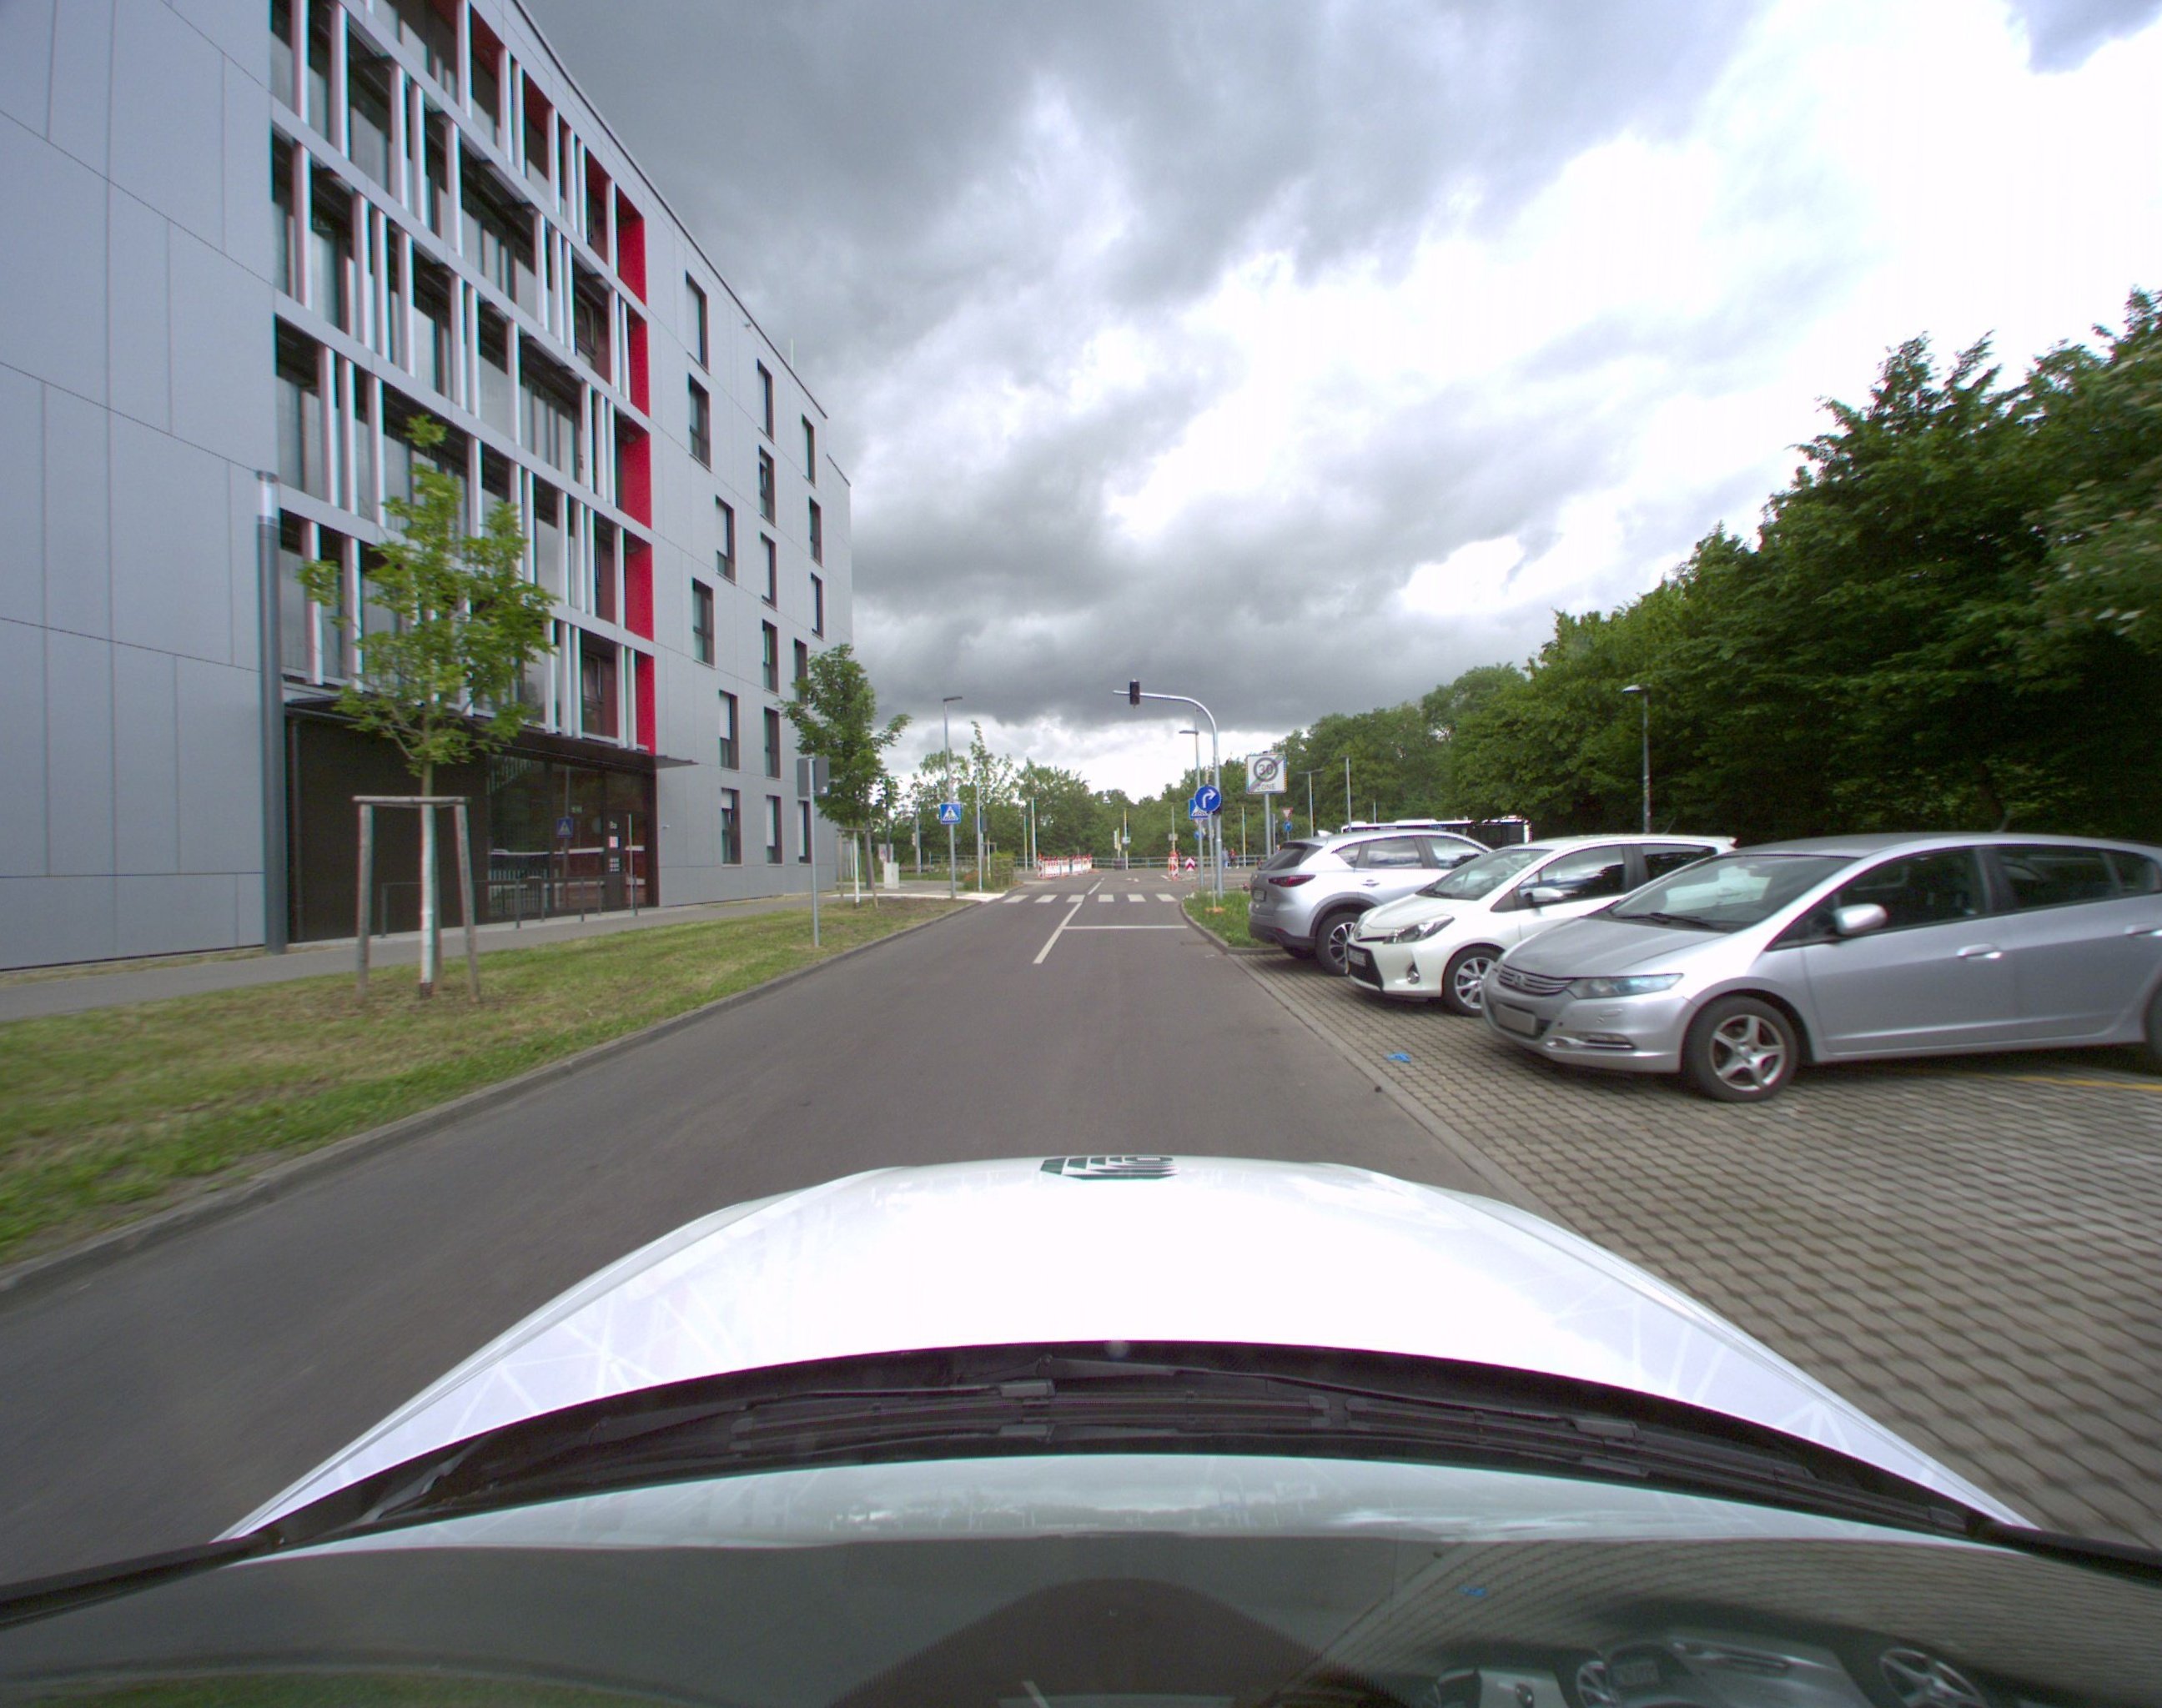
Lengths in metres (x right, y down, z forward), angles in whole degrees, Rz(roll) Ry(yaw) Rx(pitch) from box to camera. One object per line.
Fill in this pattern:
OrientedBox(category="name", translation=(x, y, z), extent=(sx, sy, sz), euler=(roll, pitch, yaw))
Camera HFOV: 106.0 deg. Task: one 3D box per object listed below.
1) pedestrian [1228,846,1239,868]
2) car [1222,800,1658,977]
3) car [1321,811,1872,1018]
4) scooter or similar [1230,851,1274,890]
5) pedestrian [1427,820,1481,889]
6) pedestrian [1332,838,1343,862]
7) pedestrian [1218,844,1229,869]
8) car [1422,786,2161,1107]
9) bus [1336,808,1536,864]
OrientedBox(category="pedestrian", translation=(11.581, 0.206, 61.791), extent=(0.715, 1.621, 0.808), euler=(-1, 0, 14))
OrientedBox(category="car", translation=(4.368, 0.381, 10.456), extent=(4.637, 1.752, 2.068), euler=(-4, 0, -3))
OrientedBox(category="car", translation=(4.658, 0.509, 7.815), extent=(4.142, 1.586, 1.795), euler=(-2, 0, -1))
OrientedBox(category="scooter or similar", translation=(6.021, 0.581, 28.677), extent=(1.530, 1.313, 0.567), euler=(-1, 0, -31))
OrientedBox(category="pedestrian", translation=(10.082, 0.005, 22.011), extent=(0.986, 1.822, 0.850), euler=(-1, -1, -24))
OrientedBox(category="pedestrian", translation=(19.018, -0.331, 60.414), extent=(0.714, 1.747, 0.962), euler=(-1, 0, 19))
OrientedBox(category="pedestrian", translation=(10.214, 0.200, 58.299), extent=(0.715, 1.747, 0.961), euler=(-1, 0, 14))
OrientedBox(category="car", translation=(4.931, 0.465, 5.435), extent=(4.464, 1.562, 1.911), euler=(-3, 0, -1))
OrientedBox(category="bus", translation=(23.700, -1.137, 55.121), extent=(12.070, 3.203, 2.686), euler=(-2, 0, 14))
